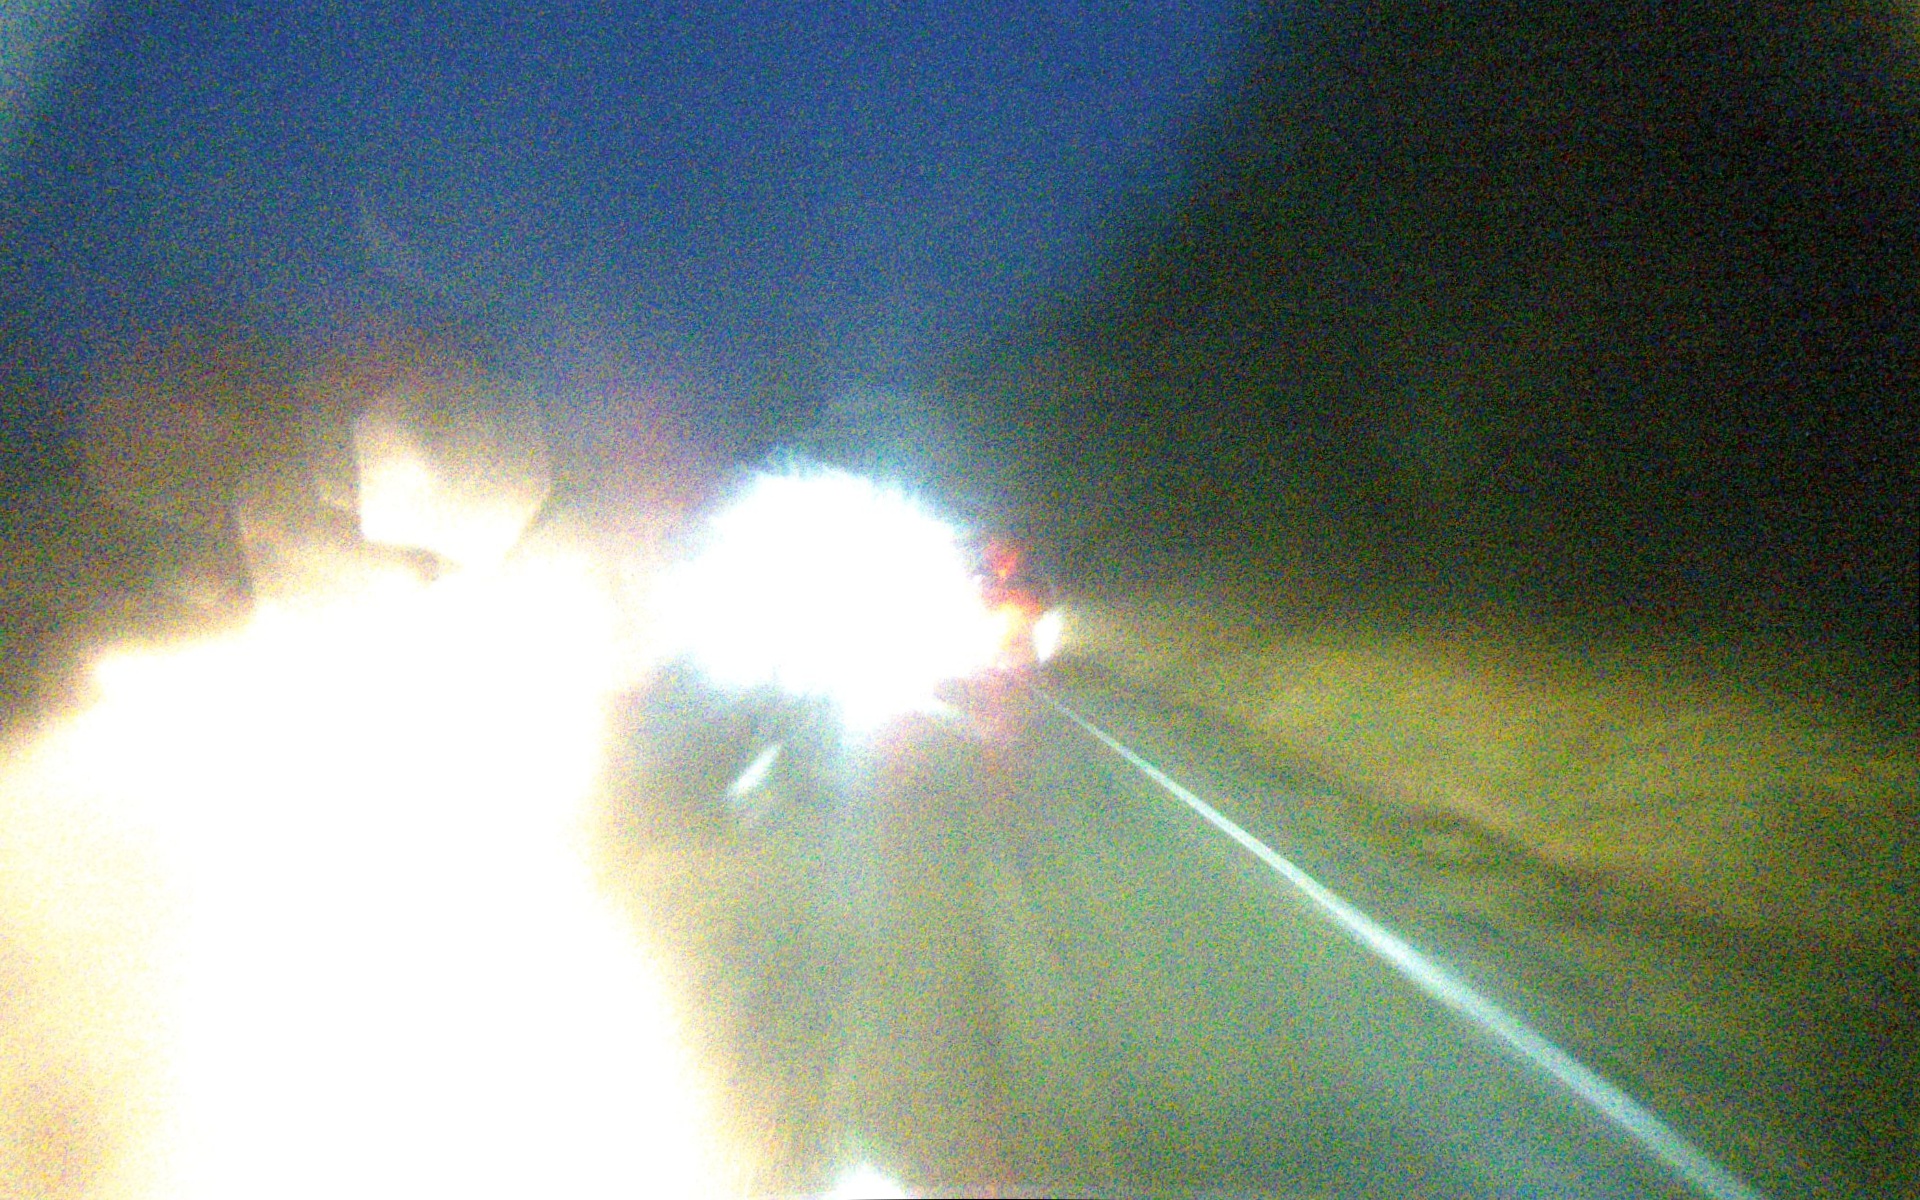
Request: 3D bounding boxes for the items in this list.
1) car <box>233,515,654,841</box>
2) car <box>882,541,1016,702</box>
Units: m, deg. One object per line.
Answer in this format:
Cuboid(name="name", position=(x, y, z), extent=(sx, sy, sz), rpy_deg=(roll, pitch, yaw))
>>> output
Cuboid(name="car", position=(-3.370, 0.393, 11.636), extent=(1.799, 1.876, 3.999), rpy_deg=(-1, 2, -2))
Cuboid(name="car", position=(-0.197, 0.302, 30.189), extent=(2.137, 2.601, 4.508), rpy_deg=(3, 2, 0))
